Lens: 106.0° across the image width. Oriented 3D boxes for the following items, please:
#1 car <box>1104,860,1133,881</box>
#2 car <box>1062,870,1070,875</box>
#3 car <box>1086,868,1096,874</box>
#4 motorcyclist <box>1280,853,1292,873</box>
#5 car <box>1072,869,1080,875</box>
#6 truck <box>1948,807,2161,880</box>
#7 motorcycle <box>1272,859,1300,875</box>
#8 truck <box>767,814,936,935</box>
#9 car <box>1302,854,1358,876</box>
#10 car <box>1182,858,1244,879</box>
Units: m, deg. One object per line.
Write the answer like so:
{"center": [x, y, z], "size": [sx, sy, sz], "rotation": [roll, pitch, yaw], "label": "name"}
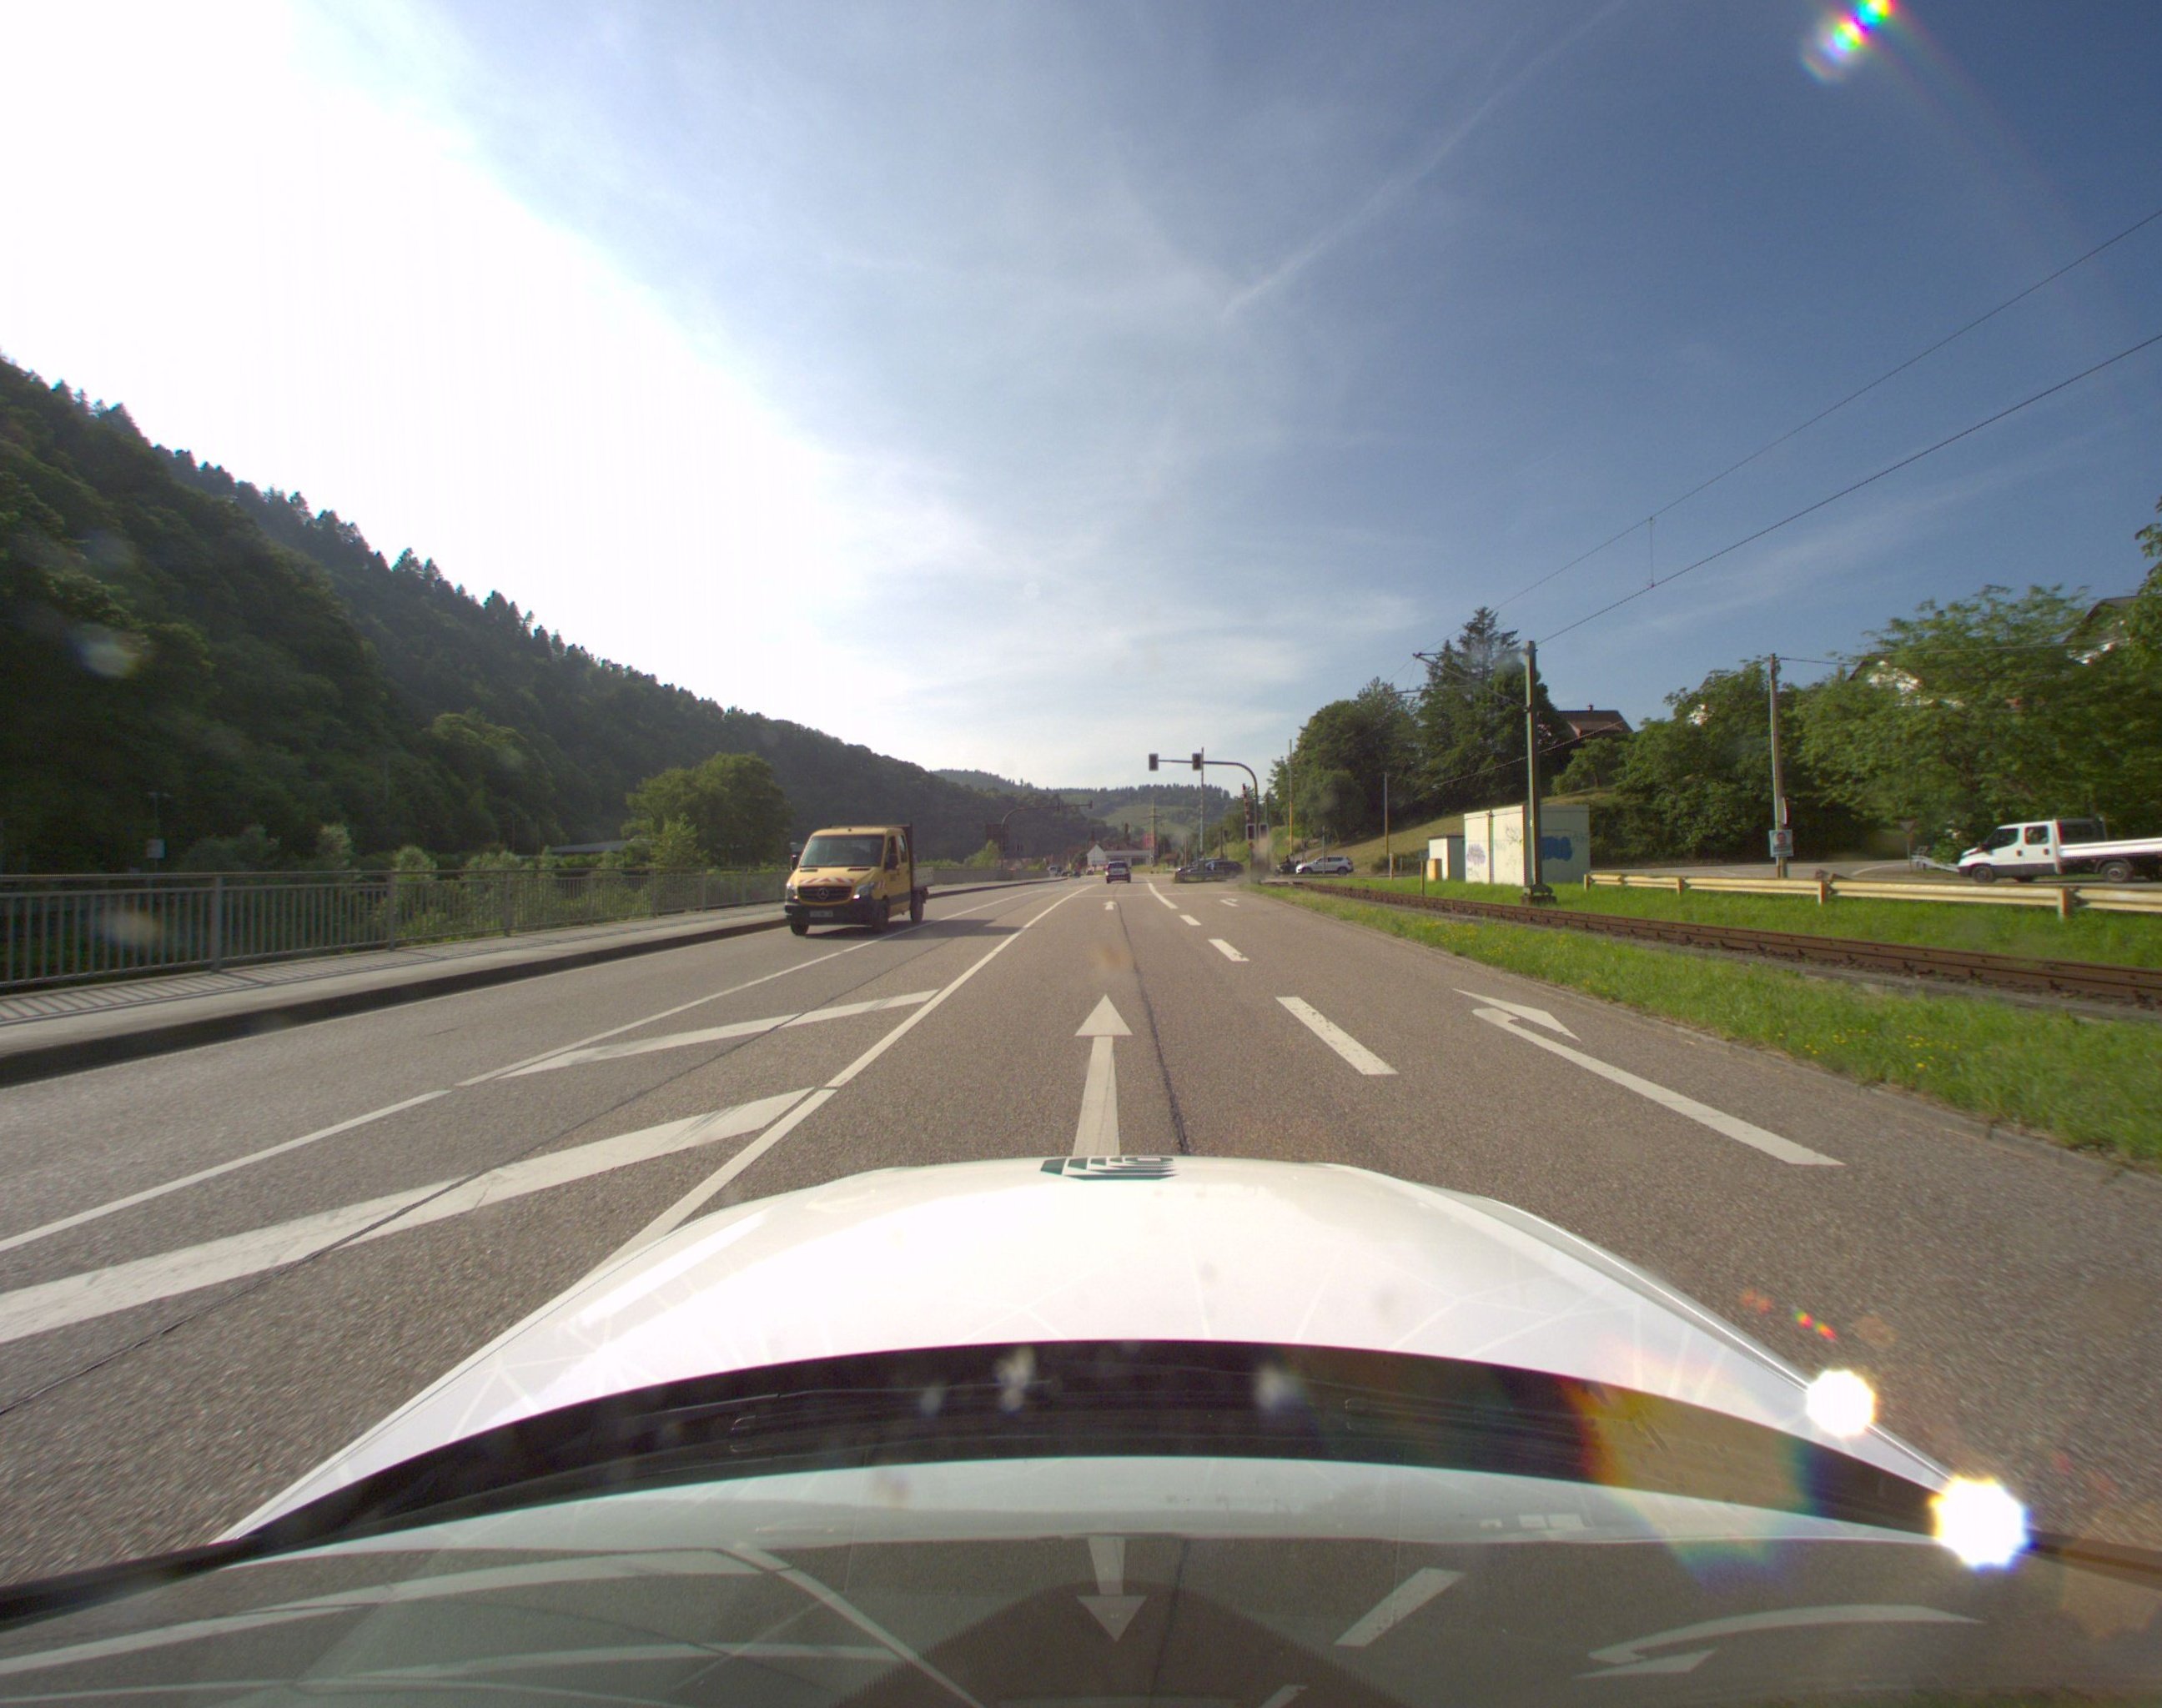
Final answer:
{"center": [2.877, 1.259, 61.744], "size": [1.851, 1.544, 4.380], "rotation": [-1, -2, 7], "label": "car"}
{"center": [-3.971, 4.939, 217.224], "size": [1.456, 1.435, 2.920], "rotation": [0, -1, -16], "label": "car"}
{"center": [2.273, 3.845, 182.842], "size": [1.456, 1.435, 2.920], "rotation": [0, -1, -16], "label": "car"}
{"center": [16.885, 0.725, 67.115], "size": [0.899, 1.597, 0.769], "rotation": [-1, -1, 20], "label": "motorcyclist"}
{"center": [-1.170, 4.456, 198.352], "size": [1.235, 1.435, 2.626], "rotation": [-3, -1, -16], "label": "car"}
{"center": [34.525, -0.287, 28.099], "size": [2.399, 2.233, 5.920], "rotation": [-2, -2, -8], "label": "truck"}
{"center": [16.898, 1.063, 67.111], "size": [2.075, 1.254, 0.803], "rotation": [-1, -1, 21], "label": "motorcycle"}
{"center": [-5.100, 0.431, 19.164], "size": [2.156, 2.387, 5.856], "rotation": [0, -1, 2], "label": "truck"}
{"center": [19.197, 0.838, 62.821], "size": [4.081, 1.687, 1.843], "rotation": [-1, -1, 16], "label": "car"}
{"center": [10.351, 1.143, 64.073], "size": [4.703, 1.470, 1.844], "rotation": [-3, -1, 5], "label": "car"}
